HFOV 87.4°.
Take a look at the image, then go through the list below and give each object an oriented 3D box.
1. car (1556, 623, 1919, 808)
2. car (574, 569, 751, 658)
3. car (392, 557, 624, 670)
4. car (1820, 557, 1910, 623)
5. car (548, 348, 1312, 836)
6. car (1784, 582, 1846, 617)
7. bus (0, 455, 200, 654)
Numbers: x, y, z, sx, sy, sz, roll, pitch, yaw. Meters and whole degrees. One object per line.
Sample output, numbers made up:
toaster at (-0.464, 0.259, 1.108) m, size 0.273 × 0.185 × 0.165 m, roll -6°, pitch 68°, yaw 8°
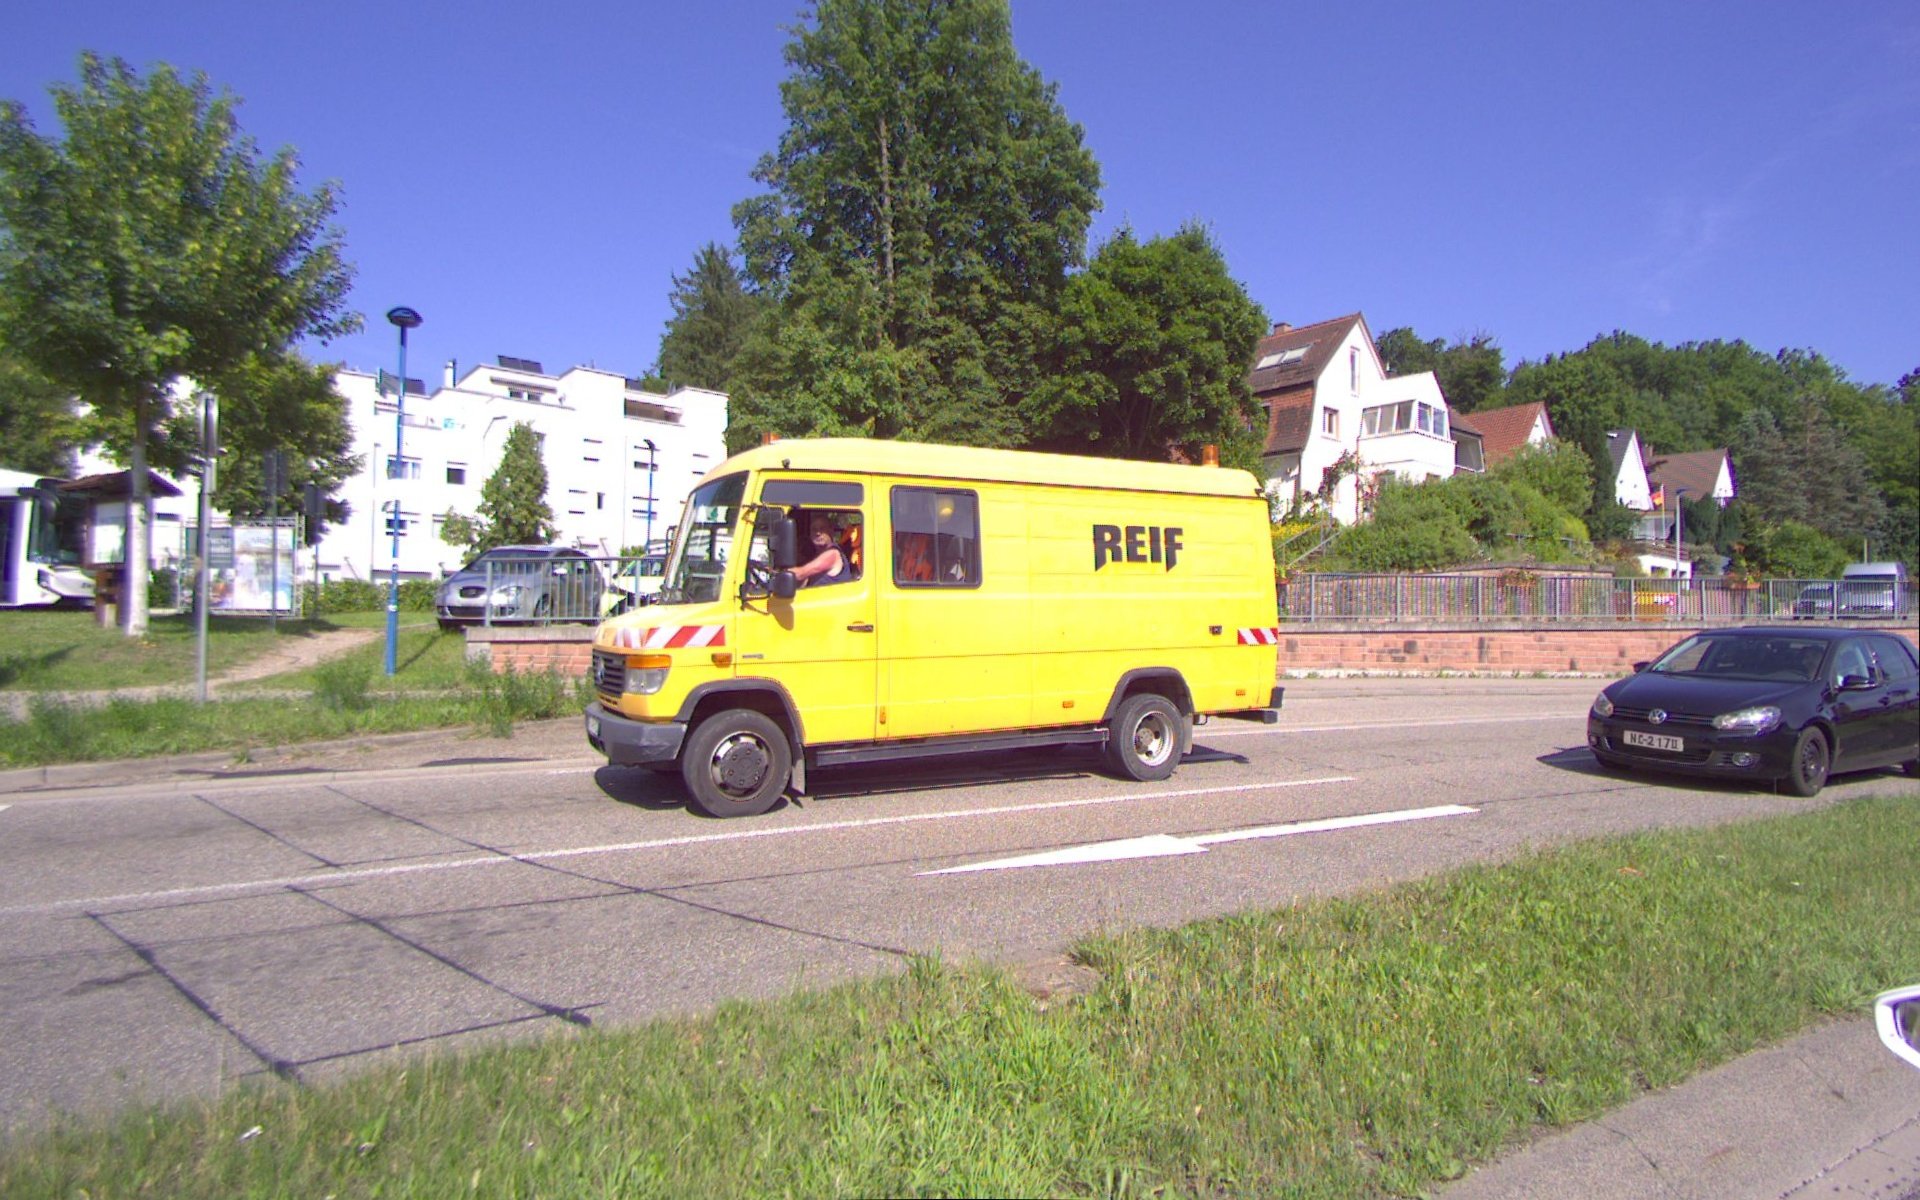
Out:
car at (7.846, 0.980, 9.825) m, size 3.995 × 1.482 × 1.738 m, roll 1°, pitch -2°, yaw -30°
car at (-5.167, 0.187, 18.041) m, size 1.876 × 1.400 × 4.000 m, roll 0°, pitch 1°, yaw 2°
car at (-7.811, 0.158, 17.927) m, size 2.016 × 1.719 × 4.415 m, roll 1°, pitch 1°, yaw 2°
car at (36.408, -0.391, 40.364) m, size 5.741 × 2.477 × 2.074 m, roll 0°, pitch 1°, yaw -42°
car at (-0.069, 0.009, 8.955) m, size 6.389 × 3.051 × 2.456 m, roll 1°, pitch 0°, yaw -30°
car at (42.799, 0.005, 50.262) m, size 3.970 × 1.651 × 1.878 m, roll 1°, pitch -1°, yaw -42°
bus at (-22.598, -0.928, 20.969) m, size 11.971 × 3.764 × 2.871 m, roll 1°, pitch 1°, yaw 6°
